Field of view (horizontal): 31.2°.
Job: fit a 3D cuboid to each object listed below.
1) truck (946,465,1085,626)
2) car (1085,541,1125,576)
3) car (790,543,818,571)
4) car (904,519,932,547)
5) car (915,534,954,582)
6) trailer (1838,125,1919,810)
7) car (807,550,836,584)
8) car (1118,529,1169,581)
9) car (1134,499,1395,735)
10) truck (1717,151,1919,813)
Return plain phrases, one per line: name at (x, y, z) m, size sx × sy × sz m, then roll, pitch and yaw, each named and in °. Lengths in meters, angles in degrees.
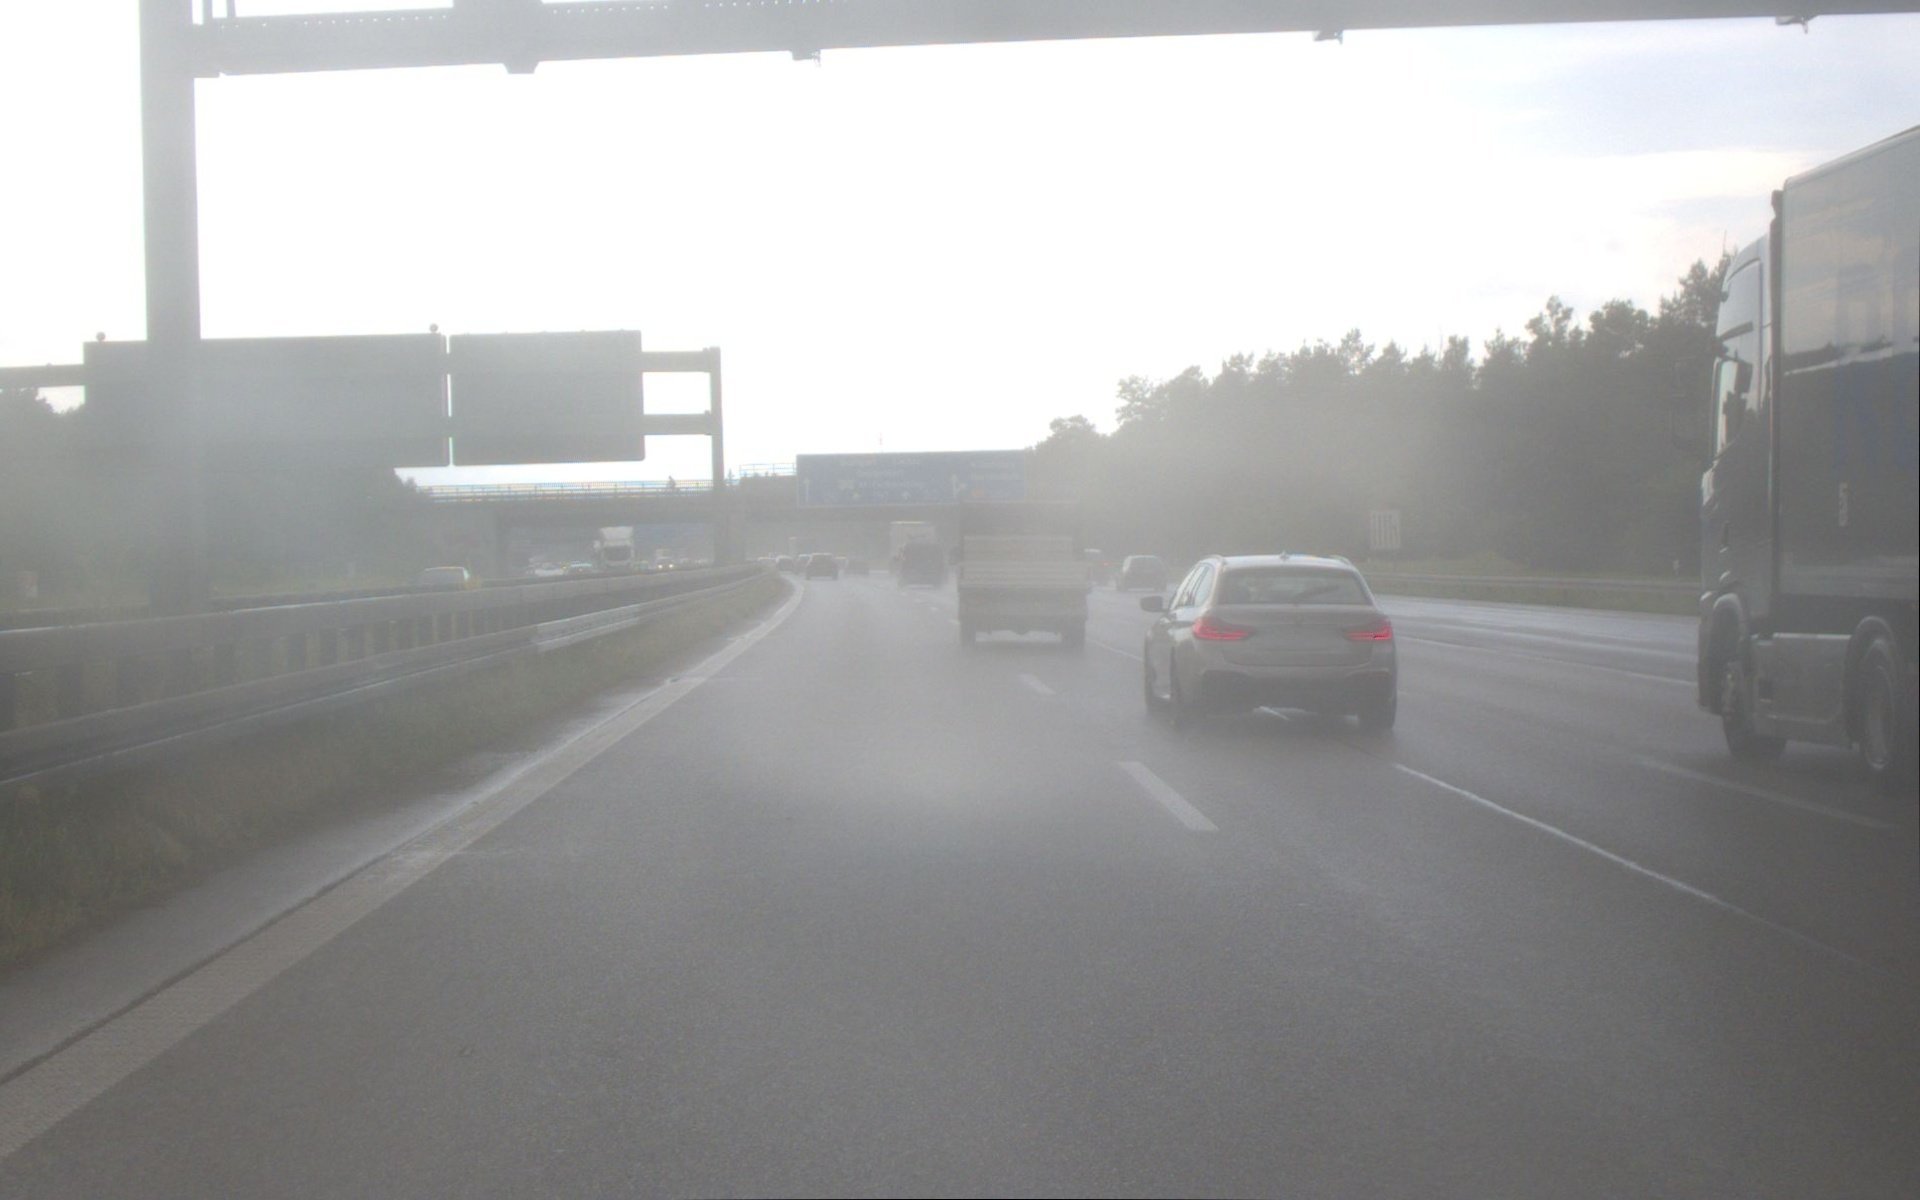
truck at (0.952, -0.893, 55.745) m, size 2.137 × 2.480 × 5.312 m, roll 0°, pitch 1°, yaw 2°
car at (7.028, -2.021, 166.871) m, size 1.741 × 1.683 × 4.000 m, roll 0°, pitch 1°, yaw 0°
car at (-11.677, -3.251, 258.008) m, size 1.795 × 2.007 × 4.000 m, roll 1°, pitch 1°, yaw 1°
car at (-3.094, -4.991, 254.467) m, size 1.993 × 2.007 × 4.000 m, roll 1°, pitch 1°, yaw -1°
car at (-1.124, -1.852, 150.030) m, size 1.674 × 2.007 × 4.000 m, roll 1°, pitch 1°, yaw -1°
trailer at (6.793, -0.690, 15.107) m, size 2.323 × 3.988 × 13.413 m, roll 0°, pitch 1°, yaw 0°
car at (-8.470, -2.042, 210.672) m, size 1.617 × 2.007 × 4.000 m, roll 1°, pitch 1°, yaw -1°
car at (7.392, -1.814, 138.541) m, size 1.994 × 2.007 × 4.000 m, roll 1°, pitch 1°, yaw 3°
car at (2.571, 0.075, 30.125) m, size 2.078 × 1.878 × 5.011 m, roll 1°, pitch 1°, yaw 3°
truck at (6.713, -0.727, 22.471) m, size 2.293 × 3.854 × 5.392 m, roll 0°, pitch 1°, yaw 0°
